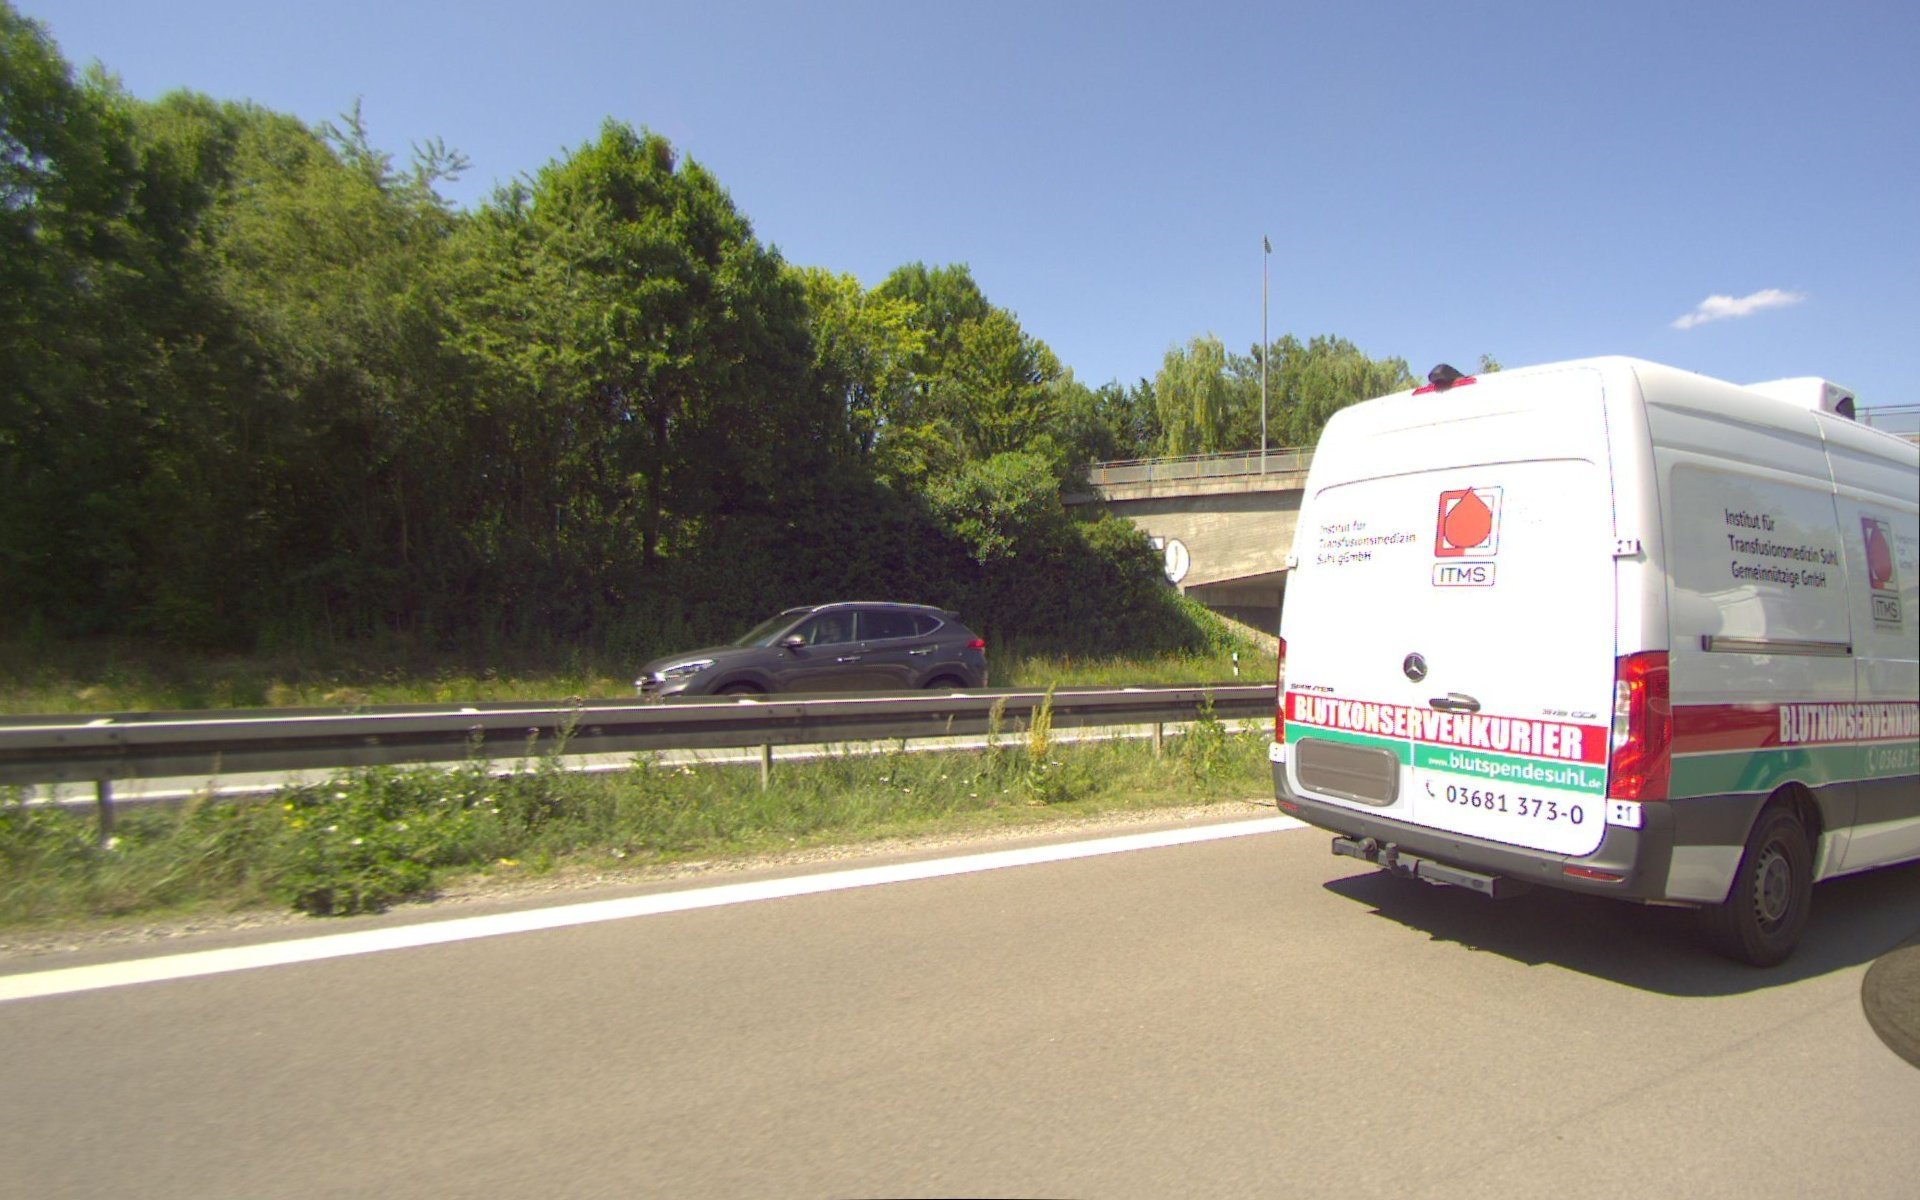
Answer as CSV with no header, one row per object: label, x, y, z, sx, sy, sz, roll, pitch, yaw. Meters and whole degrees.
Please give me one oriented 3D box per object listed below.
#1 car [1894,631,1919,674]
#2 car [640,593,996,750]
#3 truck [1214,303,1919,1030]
car,38.809,2.095,39.604,3.953,1.662,1.890,3,-2,-30
car,-1.743,0.828,12.593,4.078,1.688,1.789,1,-2,-29
truck,4.710,0.296,6.076,6.612,2.576,1.984,1,0,-30
